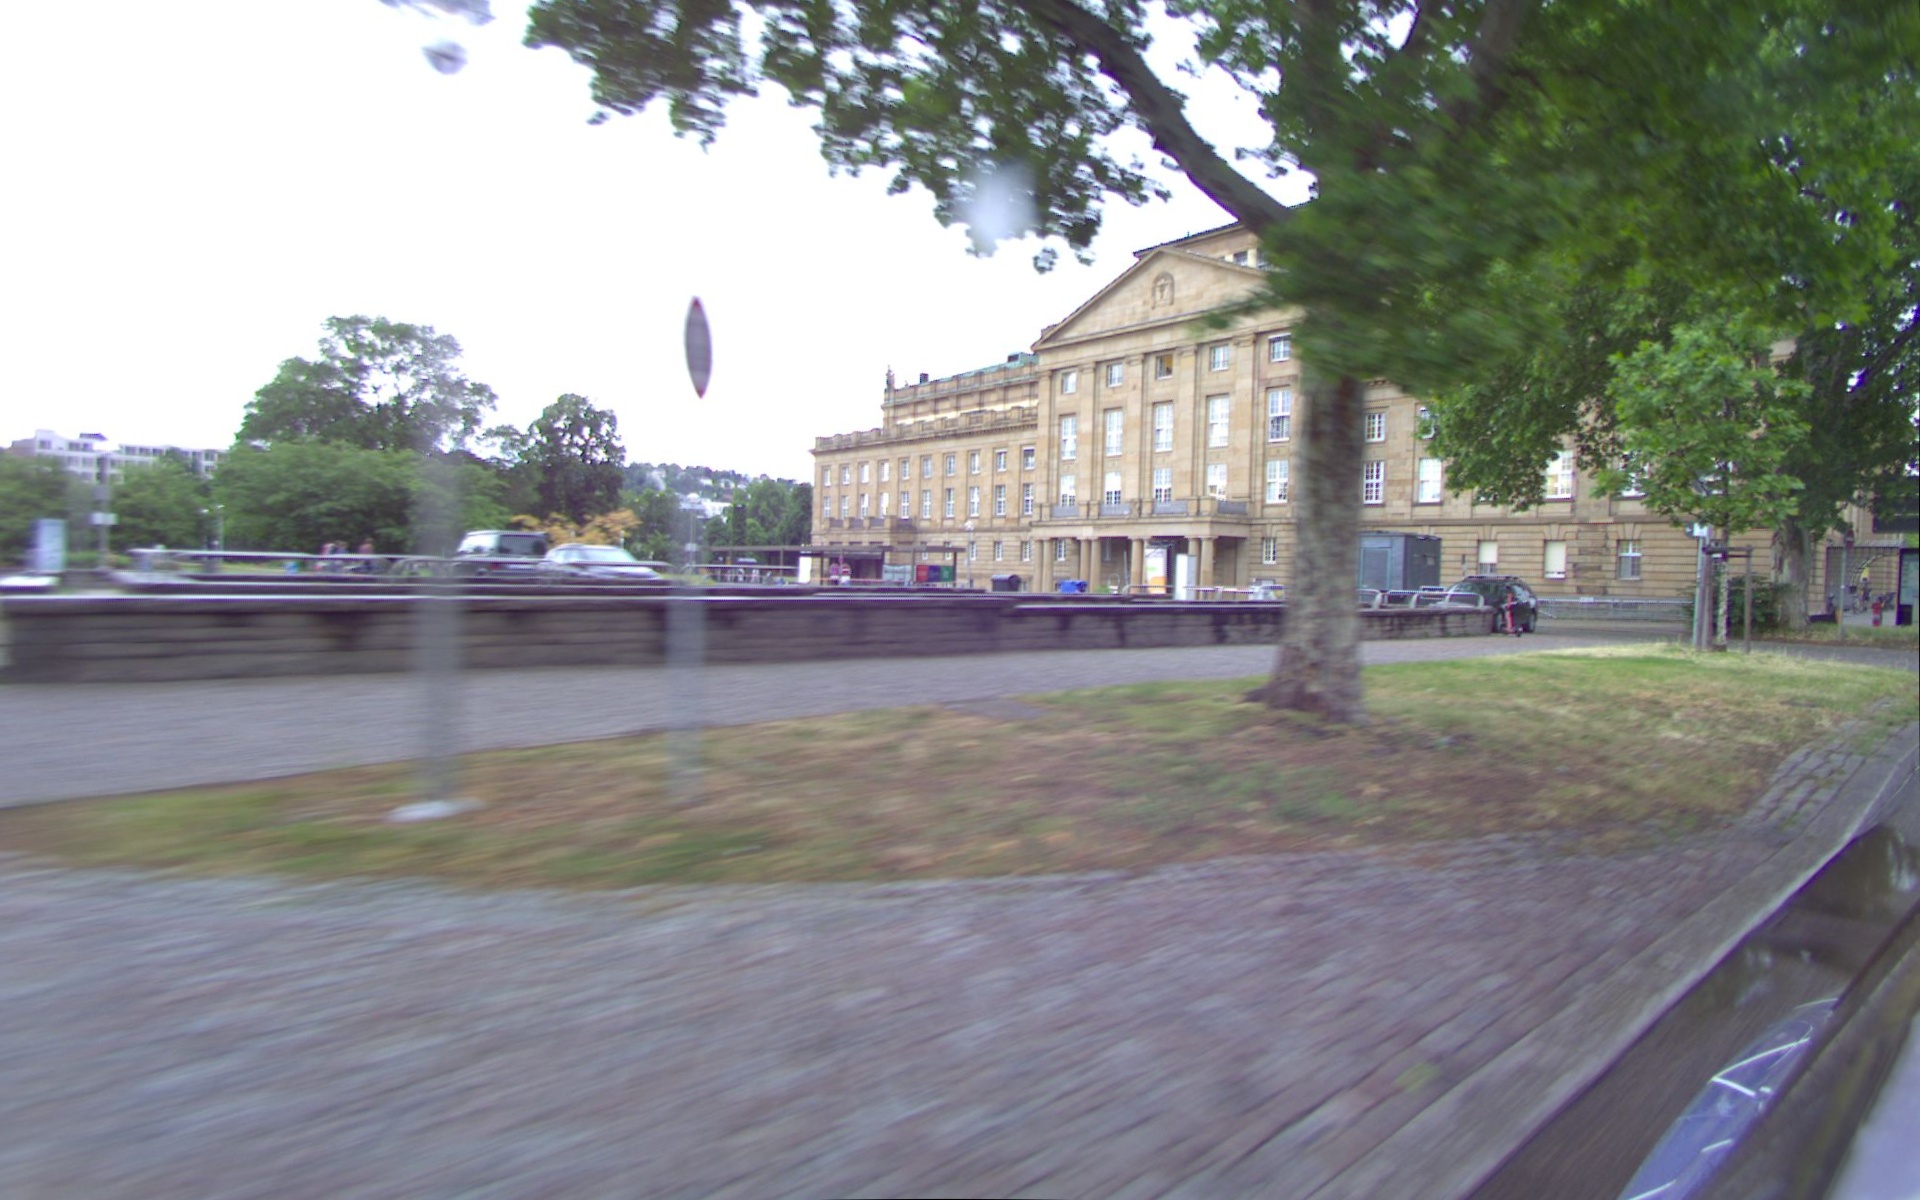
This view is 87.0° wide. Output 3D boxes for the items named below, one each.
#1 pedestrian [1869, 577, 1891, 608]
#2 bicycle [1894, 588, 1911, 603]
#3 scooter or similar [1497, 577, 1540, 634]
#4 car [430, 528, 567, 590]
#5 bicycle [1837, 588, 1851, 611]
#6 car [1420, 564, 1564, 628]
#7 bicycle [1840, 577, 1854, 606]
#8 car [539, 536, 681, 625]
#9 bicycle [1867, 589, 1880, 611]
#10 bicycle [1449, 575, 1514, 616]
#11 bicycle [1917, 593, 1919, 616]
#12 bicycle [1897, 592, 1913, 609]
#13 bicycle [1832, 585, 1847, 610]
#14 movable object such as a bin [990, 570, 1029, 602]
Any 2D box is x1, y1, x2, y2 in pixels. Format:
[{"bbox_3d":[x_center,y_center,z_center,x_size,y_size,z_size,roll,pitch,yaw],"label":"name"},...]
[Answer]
[{"bbox_3d":[55.076,-0.430,60.597,0.631,1.798,0.796,-1,5,-43],"label":"pedestrian"},{"bbox_3d":[66.508,-0.311,71.416,1.736,1.062,0.420,-1,2,-30],"label":"bicycle"},{"bbox_3d":[13.168,0.109,23.893,0.536,1.271,1.430,2,2,16],"label":"scooter or similar"},{"bbox_3d":[-14.592,-1.278,31.842,2.420,1.785,5.011,0,2,-44],"label":"car"},{"bbox_3d":[44.657,-0.015,51.121,1.760,1.093,0.352,-2,4,-44],"label":"bicycle"},{"bbox_3d":[14.794,-0.094,28.020,5.148,1.630,1.995,1,1,-44],"label":"car"},{"bbox_3d":[46.766,-0.449,53.352,1.574,1.535,0.454,0,0,-45],"label":"bicycle"},{"bbox_3d":[-7.696,-0.488,22.018,1.627,1.619,3.999,0,5,-39],"label":"car"},{"bbox_3d":[52.963,-0.021,58.684,0.464,1.230,1.664,2,2,45],"label":"bicycle"},{"bbox_3d":[21.931,-0.211,42.556,2.314,1.687,0.763,1,2,42],"label":"bicycle"},{"bbox_3d":[42.526,0.210,43.751,0.515,1.007,1.593,0,1,-40],"label":"bicycle"},{"bbox_3d":[62.169,0.050,66.612,0.712,1.064,1.714,2,2,42],"label":"bicycle"},{"bbox_3d":[45.121,-0.111,51.896,1.574,1.267,0.454,0,0,-45],"label":"bicycle"},{"bbox_3d":[2.461,-0.714,50.643,1.227,1.474,1.494,-1,4,-39],"label":"movable object such as a bin"}]
